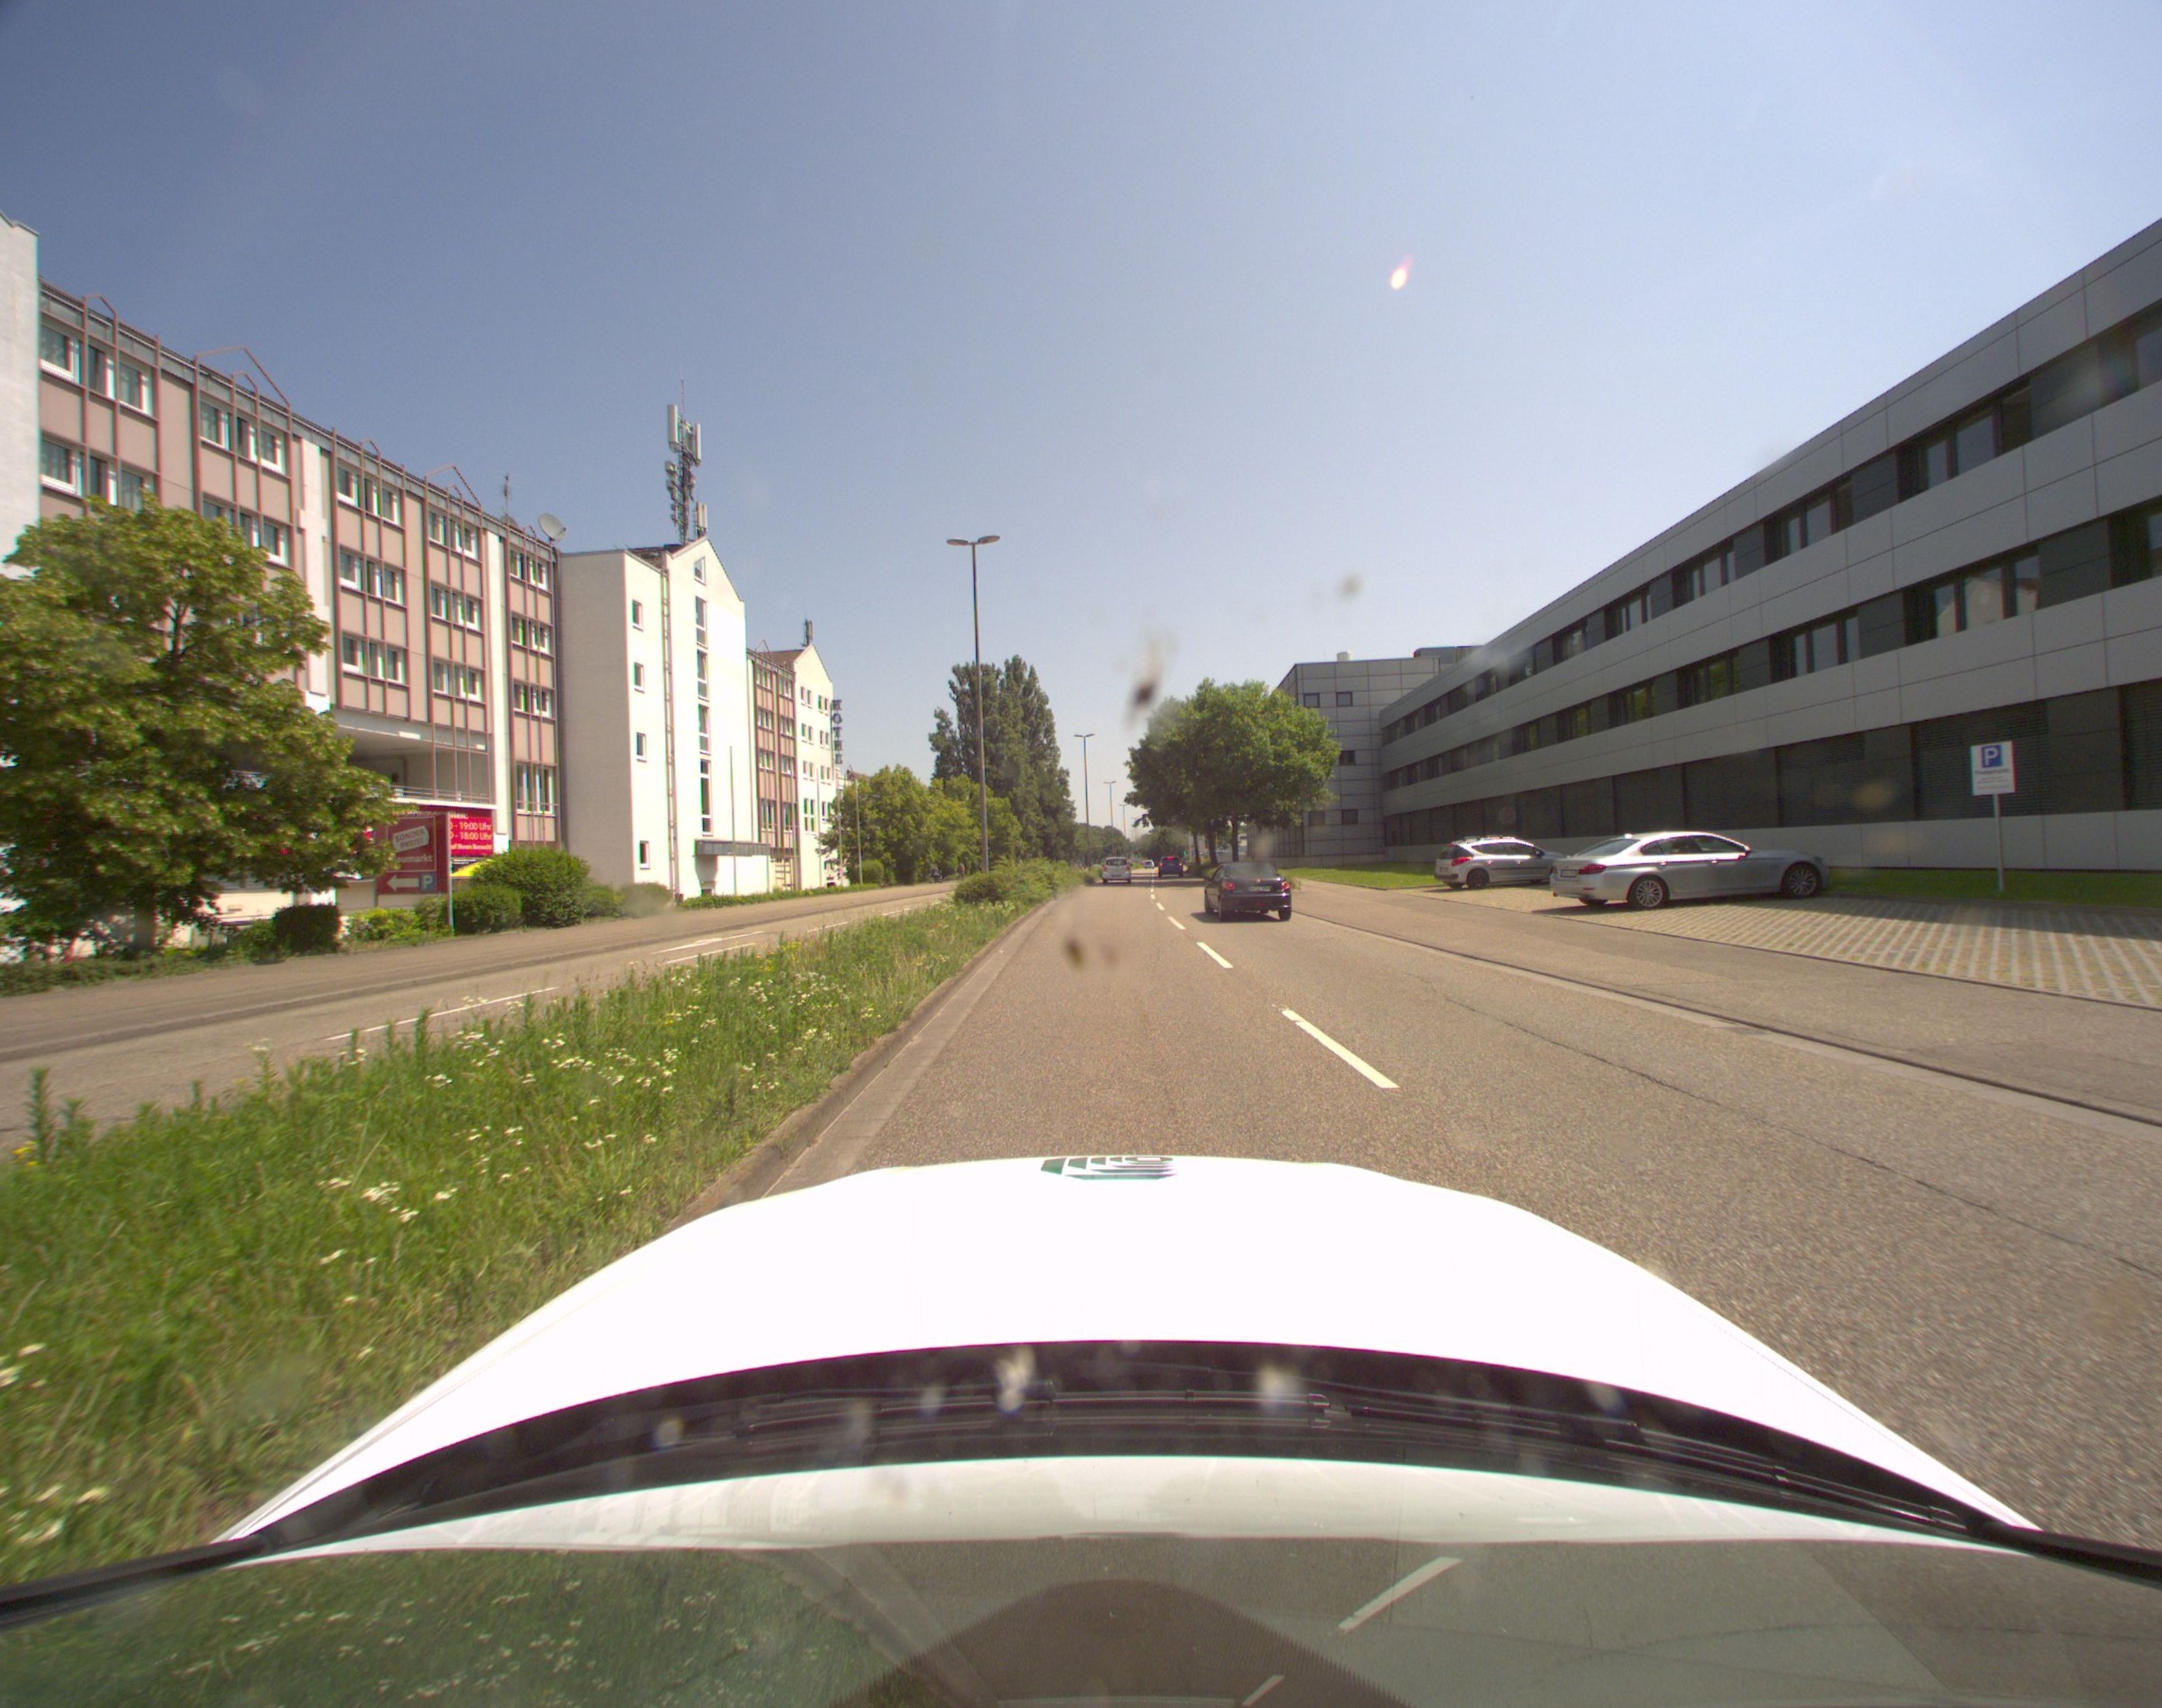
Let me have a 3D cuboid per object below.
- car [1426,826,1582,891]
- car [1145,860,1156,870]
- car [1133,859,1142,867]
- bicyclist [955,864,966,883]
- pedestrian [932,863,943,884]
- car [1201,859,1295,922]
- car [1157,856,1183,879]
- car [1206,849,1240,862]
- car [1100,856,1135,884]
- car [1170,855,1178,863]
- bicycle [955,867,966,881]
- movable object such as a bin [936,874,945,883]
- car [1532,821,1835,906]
[{"bbox_3d":[12.954,0.140,25.095,3.799,1.592,1.732,-5,-1,0],"label":"car"},{"bbox_3d":[12.717,1.980,149.129,1.811,1.662,4.004,-2,0,4],"label":"car"},{"bbox_3d":[12.991,1.960,186.187,1.813,1.662,4.001,-2,0,1],"label":"car"},{"bbox_3d":[-9.888,1.587,66.850,0.715,1.516,1.027,-3,-1,1],"label":"bicyclist"},{"bbox_3d":[-11.313,1.537,64.273,0.630,1.545,0.728,-3,-1,4],"label":"pedestrian"},{"bbox_3d":[4.008,0.825,20.099,1.621,1.364,3.606,-1,0,1],"label":"car"},{"bbox_3d":[6.746,0.970,61.468,1.818,1.580,3.612,-2,0,6],"label":"car"},{"bbox_3d":[19.838,0.220,113.938,4.479,1.583,2.002,-3,-1,4],"label":"car"},{"bbox_3d":[2.186,0.930,47.870,1.739,1.520,3.752,-1,0,6],"label":"car"},{"bbox_3d":[25.705,1.403,224.764,1.763,2.013,3.992,-3,0,2],"label":"car"},{"bbox_3d":[-9.889,1.646,66.893,0.548,1.073,2.064,-2,-1,2],"label":"bicycle"},{"bbox_3d":[-11.048,1.938,63.864,0.425,0.705,0.654,-3,-1,13],"label":"movable object such as a bin"},{"bbox_3d":[11.963,0.184,16.428,4.598,1.390,2.000,-3,0,0],"label":"car"}]
